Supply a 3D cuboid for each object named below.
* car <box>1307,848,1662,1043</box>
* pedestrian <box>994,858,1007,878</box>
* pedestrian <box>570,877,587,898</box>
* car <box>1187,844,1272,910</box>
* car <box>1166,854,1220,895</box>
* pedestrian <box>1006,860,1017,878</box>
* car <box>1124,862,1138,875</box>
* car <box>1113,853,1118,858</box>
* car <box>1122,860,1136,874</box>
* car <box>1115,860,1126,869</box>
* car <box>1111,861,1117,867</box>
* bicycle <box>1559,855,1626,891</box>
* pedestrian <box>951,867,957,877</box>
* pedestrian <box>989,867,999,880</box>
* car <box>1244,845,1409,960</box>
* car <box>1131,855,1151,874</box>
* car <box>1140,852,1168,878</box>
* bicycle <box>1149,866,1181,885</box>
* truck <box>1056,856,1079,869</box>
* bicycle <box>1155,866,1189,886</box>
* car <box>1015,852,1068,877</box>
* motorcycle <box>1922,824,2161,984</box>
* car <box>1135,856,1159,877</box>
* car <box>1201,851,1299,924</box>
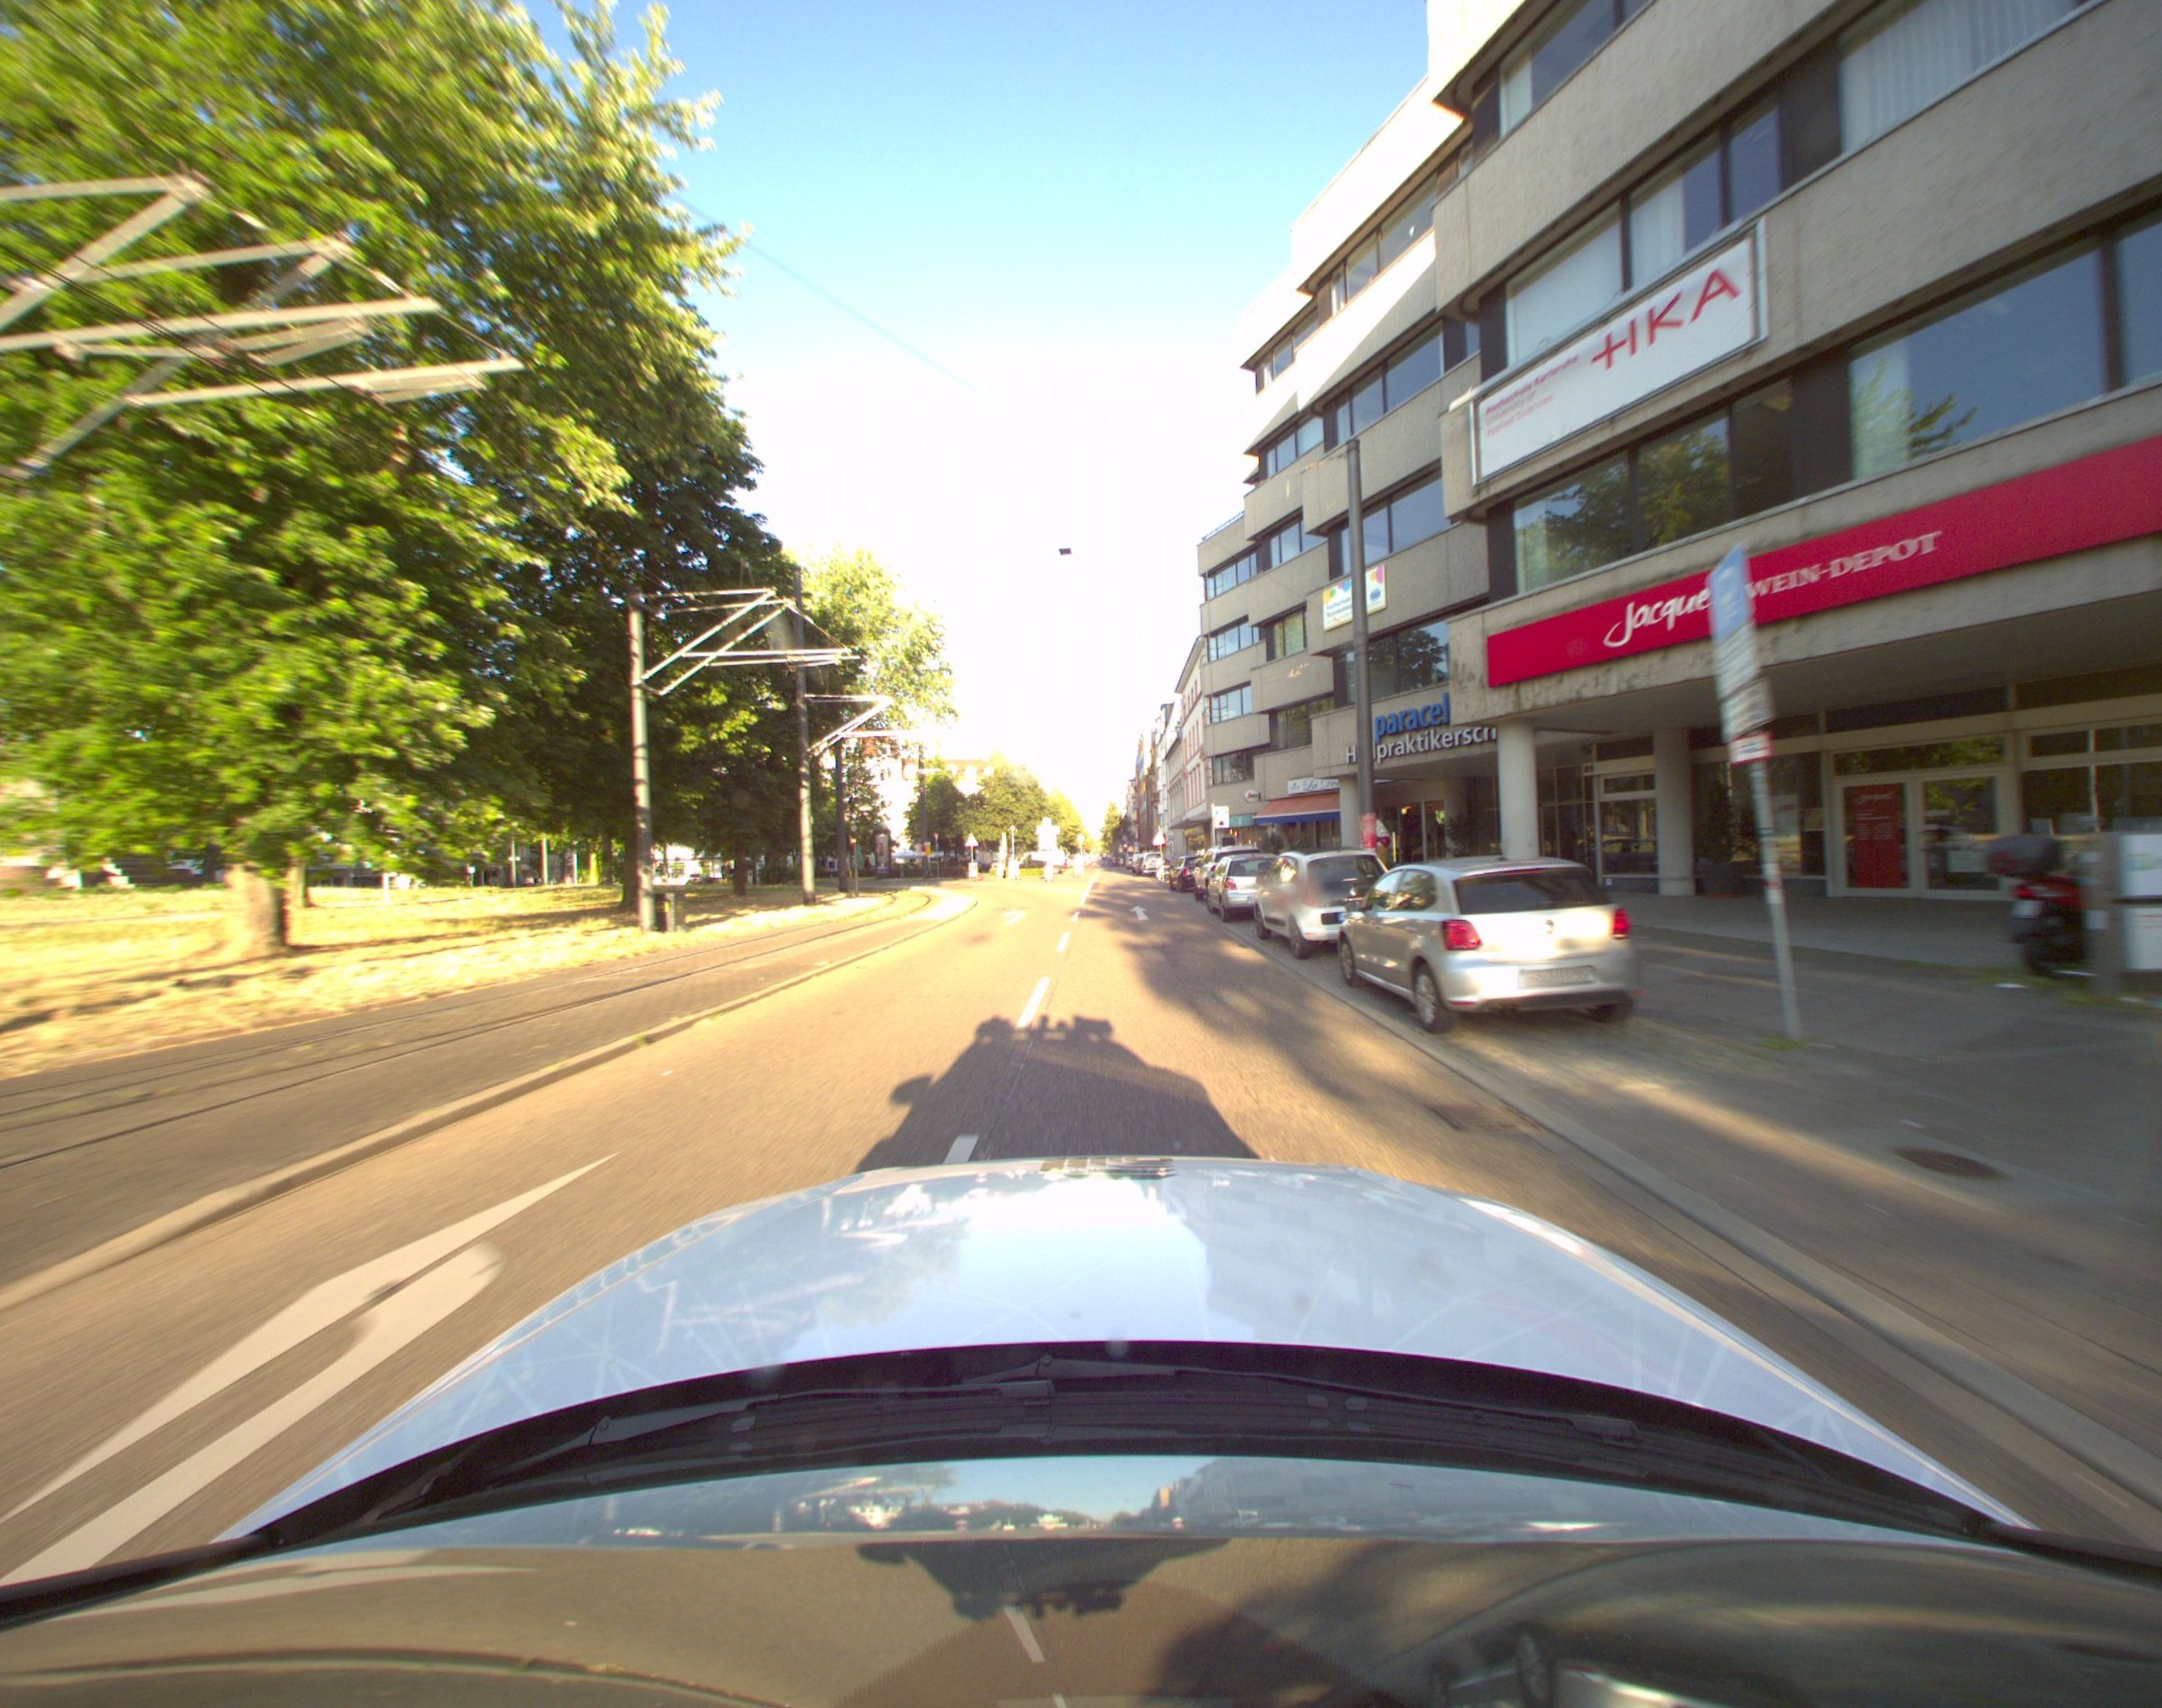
[{"bbox_3d":[3.674,0.737,8.314,1.777,1.456,4.003,-2,-1,3],"label":"car"},{"bbox_3d":[-6.069,1.059,61.602,0.702,1.559,0.687,-1,-1,-36],"label":"pedestrian"},{"bbox_3d":[-45.646,3.046,73.929,0.858,1.840,0.997,-1,1,2],"label":"pedestrian"},{"bbox_3d":[4.416,0.658,24.870,1.778,1.804,4.400,-1,0,0],"label":"car"},{"bbox_3d":[4.425,0.795,32.699,1.783,1.507,3.923,-1,0,2],"label":"car"},{"bbox_3d":[-5.275,1.123,61.854,0.567,1.364,0.607,-1,-1,-36],"label":"pedestrian"},{"bbox_3d":[6.492,1.819,105.570,1.673,1.561,4.004,-4,0,4],"label":"car"},{"bbox_3d":[10.679,0.455,253.900,1.305,1.600,2.659,-2,0,-1],"label":"car"},{"bbox_3d":[6.463,1.768,110.653,1.690,1.769,4.000,-2,0,1],"label":"car"},{"bbox_3d":[7.388,2.044,152.612,1.572,1.543,3.395,-4,-1,-1],"label":"car"},{"bbox_3d":[7.554,2.205,184.592,1.203,1.300,2.659,-1,-1,-1],"label":"car"},{"bbox_3d":[12.138,0.445,19.350,1.391,0.829,0.436,-1,-1,-9],"label":"bicycle"},{"bbox_3d":[-15.327,2.195,98.267,0.576,1.172,0.536,-2,-1,9],"label":"pedestrian"},{"bbox_3d":[-8.505,1.880,79.323,0.752,1.277,0.654,-1,-1,-36],"label":"pedestrian"},{"bbox_3d":[3.814,0.694,13.264,1.579,1.591,3.667,-1,0,0],"label":"car"},{"bbox_3d":[5.829,1.020,79.395,1.703,1.835,4.308,-1,0,2],"label":"car"},{"bbox_3d":[5.441,0.832,61.254,1.786,1.792,4.093,-2,-1,2],"label":"car"},{"bbox_3d":[5.111,1.313,49.503,1.771,0.990,0.545,-5,1,24],"label":"bicycle"},{"bbox_3d":[-2.891,1.745,175.429,4.924,2.615,2.000,-2,-1,0],"label":"truck"},{"bbox_3d":[5.084,1.234,45.645,1.775,0.990,0.544,-5,0,12],"label":"bicycle"},{"bbox_3d":[-3.823,1.016,79.093,4.622,2.251,2.184,-1,-1,-26],"label":"car"},{"bbox_3d":[8.747,0.395,7.137,2.275,1.190,0.703,-4,0,-9],"label":"motorcycle"},{"bbox_3d":[5.383,0.992,66.511,1.651,1.665,4.108,-1,-1,1],"label":"car"},{"bbox_3d":[3.919,0.726,19.502,1.634,1.528,4.002,-1,0,2],"label":"car"}]
